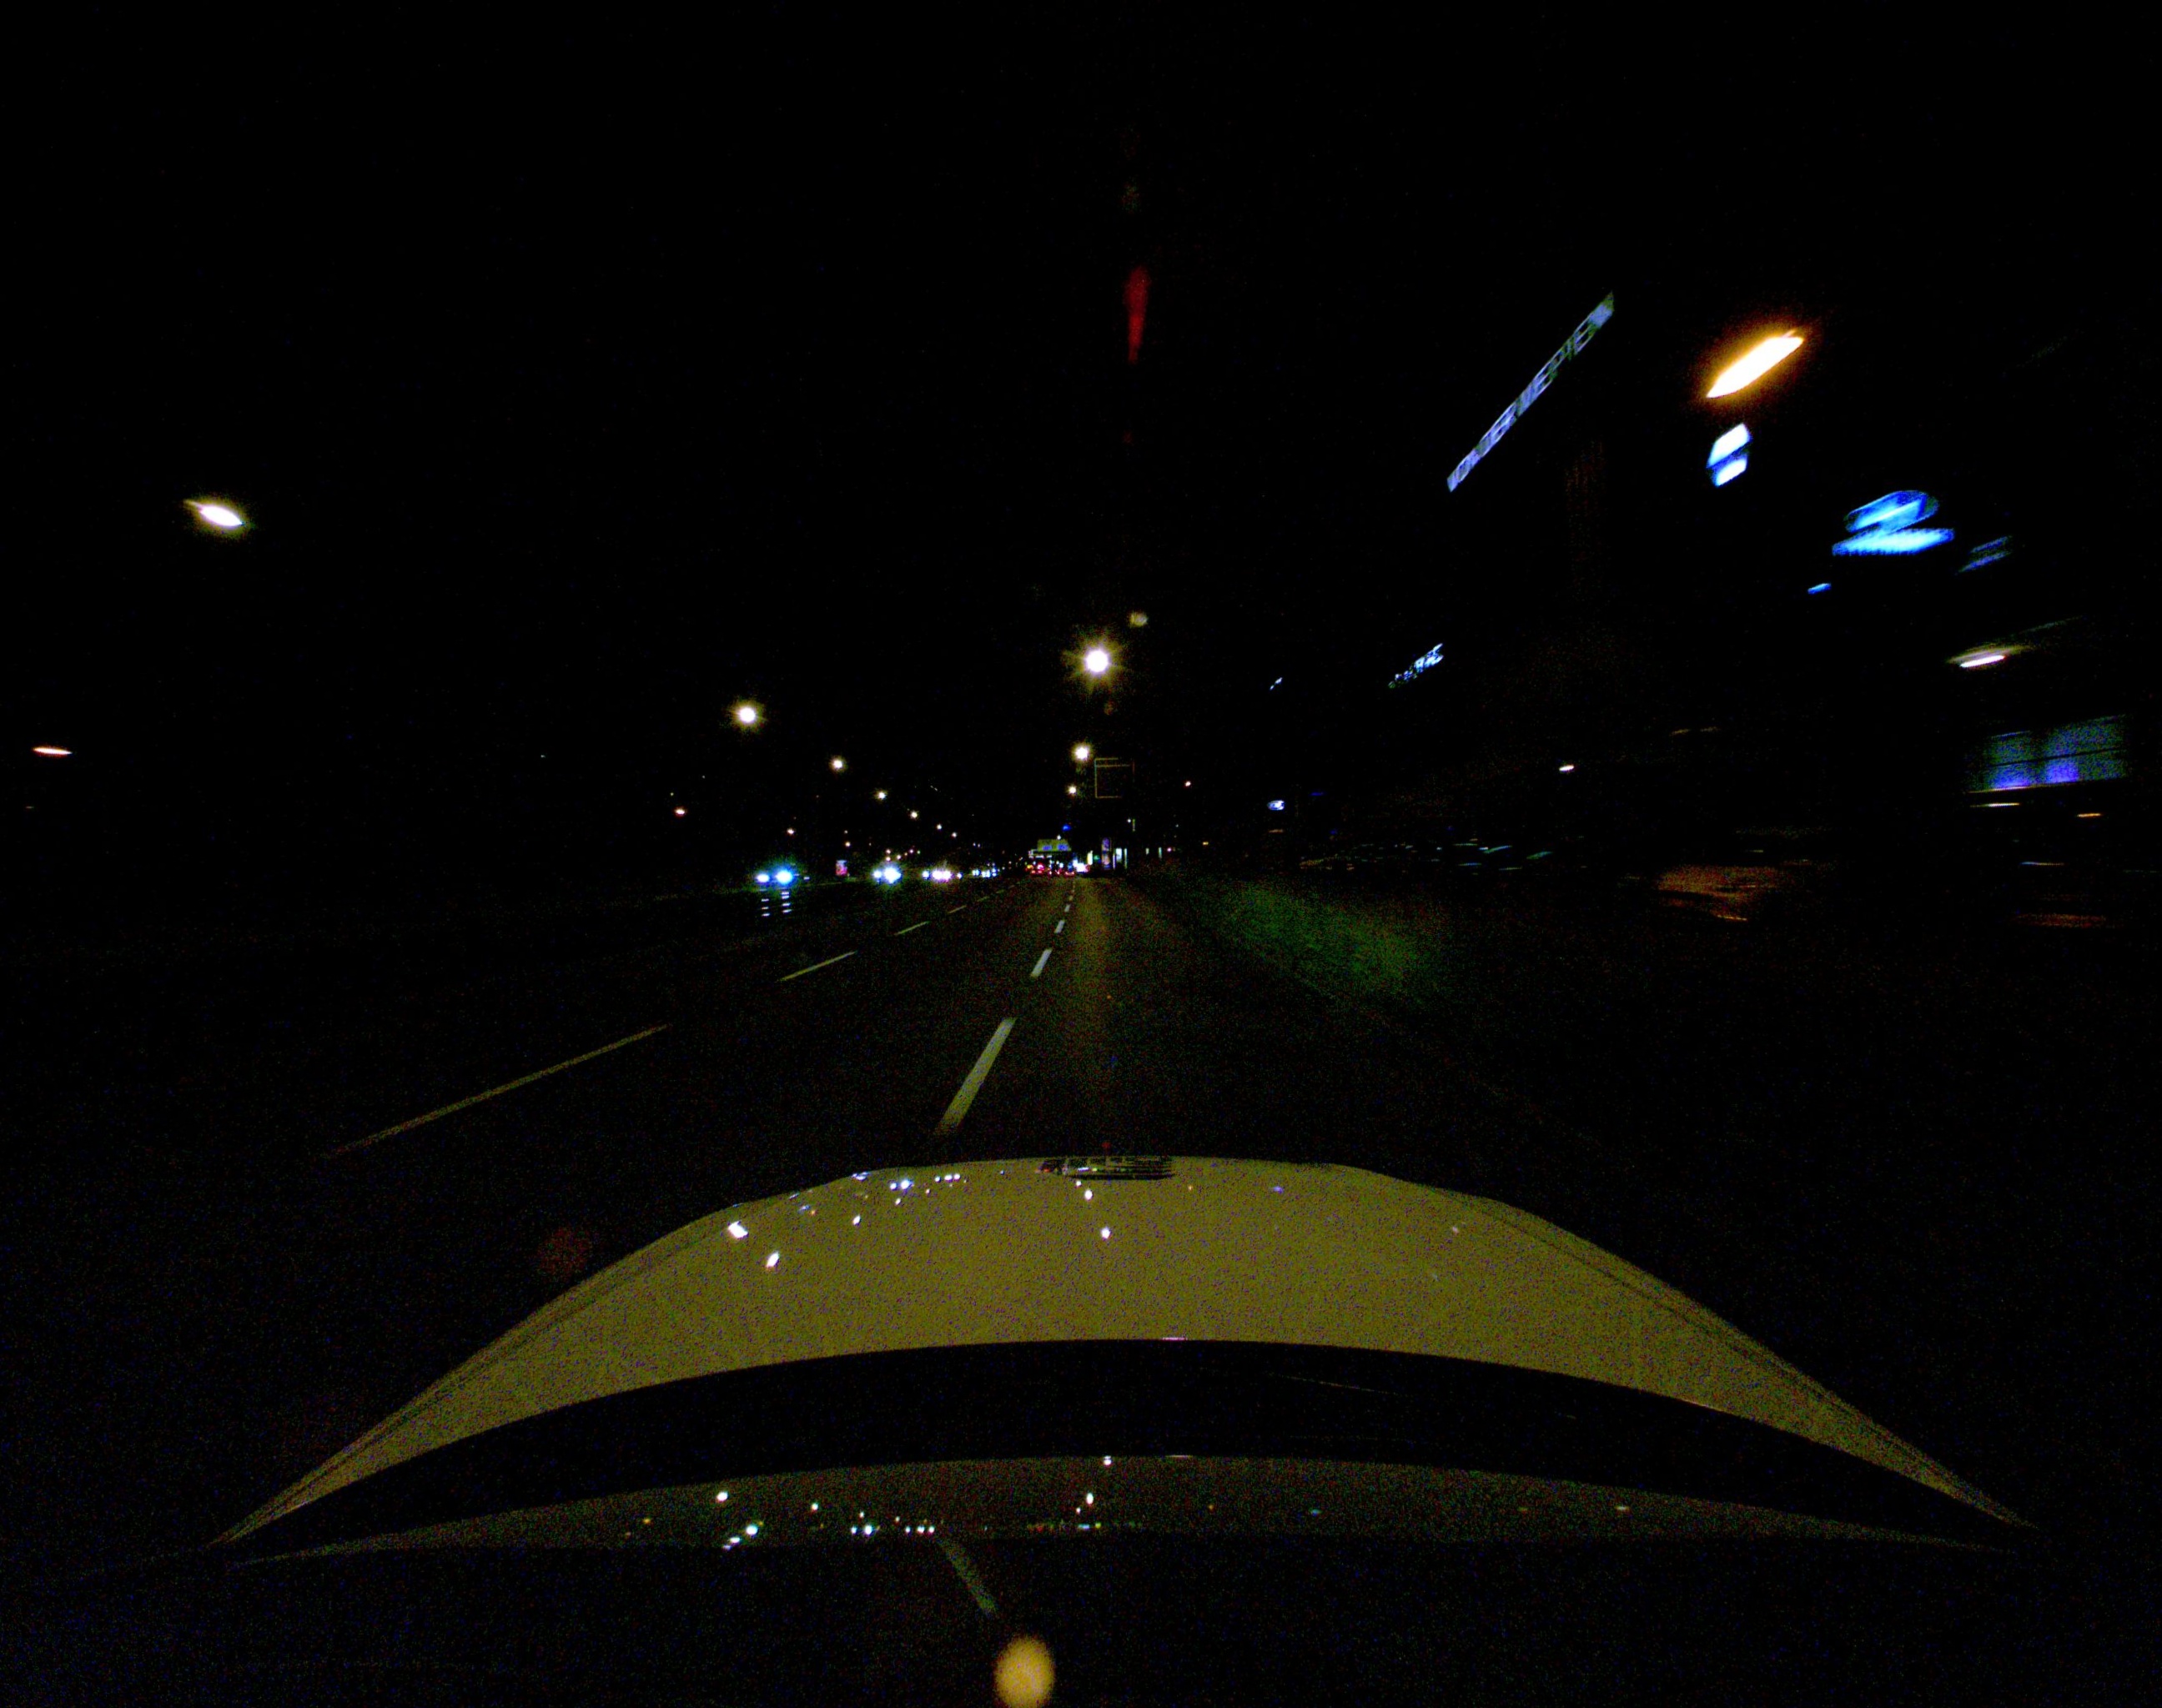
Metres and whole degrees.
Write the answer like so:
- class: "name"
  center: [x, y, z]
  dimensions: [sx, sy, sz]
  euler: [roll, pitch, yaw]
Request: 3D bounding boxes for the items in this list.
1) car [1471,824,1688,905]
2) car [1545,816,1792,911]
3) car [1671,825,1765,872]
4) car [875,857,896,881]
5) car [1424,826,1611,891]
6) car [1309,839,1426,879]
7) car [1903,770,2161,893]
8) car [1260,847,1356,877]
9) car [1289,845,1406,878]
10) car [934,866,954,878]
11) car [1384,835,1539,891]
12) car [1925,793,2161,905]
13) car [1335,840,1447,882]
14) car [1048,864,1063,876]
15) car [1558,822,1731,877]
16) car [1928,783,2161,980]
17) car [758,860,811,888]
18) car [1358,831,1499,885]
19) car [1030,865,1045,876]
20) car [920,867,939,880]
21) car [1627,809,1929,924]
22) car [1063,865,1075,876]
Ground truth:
- class: "car"
  center: [11.098, 0.212, 18.221]
  dimensions: [4.030, 1.373, 1.816]
  euler: [-5, 0, -15]
- class: "car"
  center: [11.201, 0.160, 15.623]
  dimensions: [3.771, 1.379, 1.709]
  euler: [-5, 0, -13]
- class: "car"
  center: [24.034, -0.197, 30.677]
  dimensions: [4.340, 1.654, 1.639]
  euler: [0, -1, -36]
- class: "car"
  center: [-24.448, 1.911, 102.170]
  dimensions: [2.147, 2.671, 6.934]
  euler: [-4, -1, -11]
- class: "car"
  center: [11.316, 0.099, 21.225]
  dimensions: [3.987, 1.381, 1.803]
  euler: [-4, 0, -10]
- class: "car"
  center: [11.209, 0.163, 31.926]
  dimensions: [3.996, 1.424, 1.898]
  euler: [-1, 0, -17]
- class: "car"
  center: [17.221, -0.342, 13.519]
  dimensions: [1.843, 1.918, 4.775]
  euler: [0, -1, -35]
- class: "car"
  center: [11.010, 0.384, 39.605]
  dimensions: [4.126, 1.420, 1.869]
  euler: [0, -1, -13]
- class: "car"
  center: [11.342, 0.292, 34.646]
  dimensions: [4.650, 1.264, 1.932]
  euler: [-1, 0, -24]
- class: "car"
  center: [-17.236, 2.288, 102.603]
  dimensions: [1.615, 1.440, 4.337]
  euler: [-3, -1, 0]
- class: "car"
  center: [11.132, 0.228, 23.848]
  dimensions: [4.002, 1.391, 1.813]
  euler: [-3, 1, -21]
- class: "car"
  center: [15.406, -0.099, 11.982]
  dimensions: [2.003, 1.530, 3.953]
  euler: [-3, 0, -39]
- class: "car"
  center: [11.100, 0.254, 29.173]
  dimensions: [3.616, 1.433, 1.667]
  euler: [0, -1, -23]
- class: "car"
  center: [-4.550, 2.823, 145.799]
  dimensions: [2.348, 2.129, 4.826]
  euler: [-1, -1, 1]
- class: "car"
  center: [16.222, -0.111, 23.619]
  dimensions: [1.632, 1.464, 3.756]
  euler: [-1, 0, -32]
- class: "car"
  center: [10.988, 0.069, 7.735]
  dimensions: [4.459, 1.547, 1.764]
  euler: [-6, -1, -9]
- class: "car"
  center: [-19.114, 1.267, 52.724]
  dimensions: [1.773, 1.713, 4.227]
  euler: [-1, -1, 1]
- class: "car"
  center: [11.359, 0.123, 26.651]
  dimensions: [3.999, 1.470, 1.821]
  euler: [-3, 0, -19]
- class: "car"
  center: [-7.983, 3.005, 150.033]
  dimensions: [2.255, 2.014, 4.826]
  euler: [-1, -1, 1]
- class: "car"
  center: [-21.043, 2.715, 113.150]
  dimensions: [1.990, 1.594, 3.994]
  euler: [-3, 0, -4]
- class: "car"
  center: [11.097, 0.165, 13.051]
  dimensions: [3.806, 1.453, 1.710]
  euler: [-4, 0, -13]
- class: "car"
  center: [-2.496, 3.400, 169.498]
  dimensions: [2.419, 2.113, 4.826]
  euler: [-1, -1, 1]
